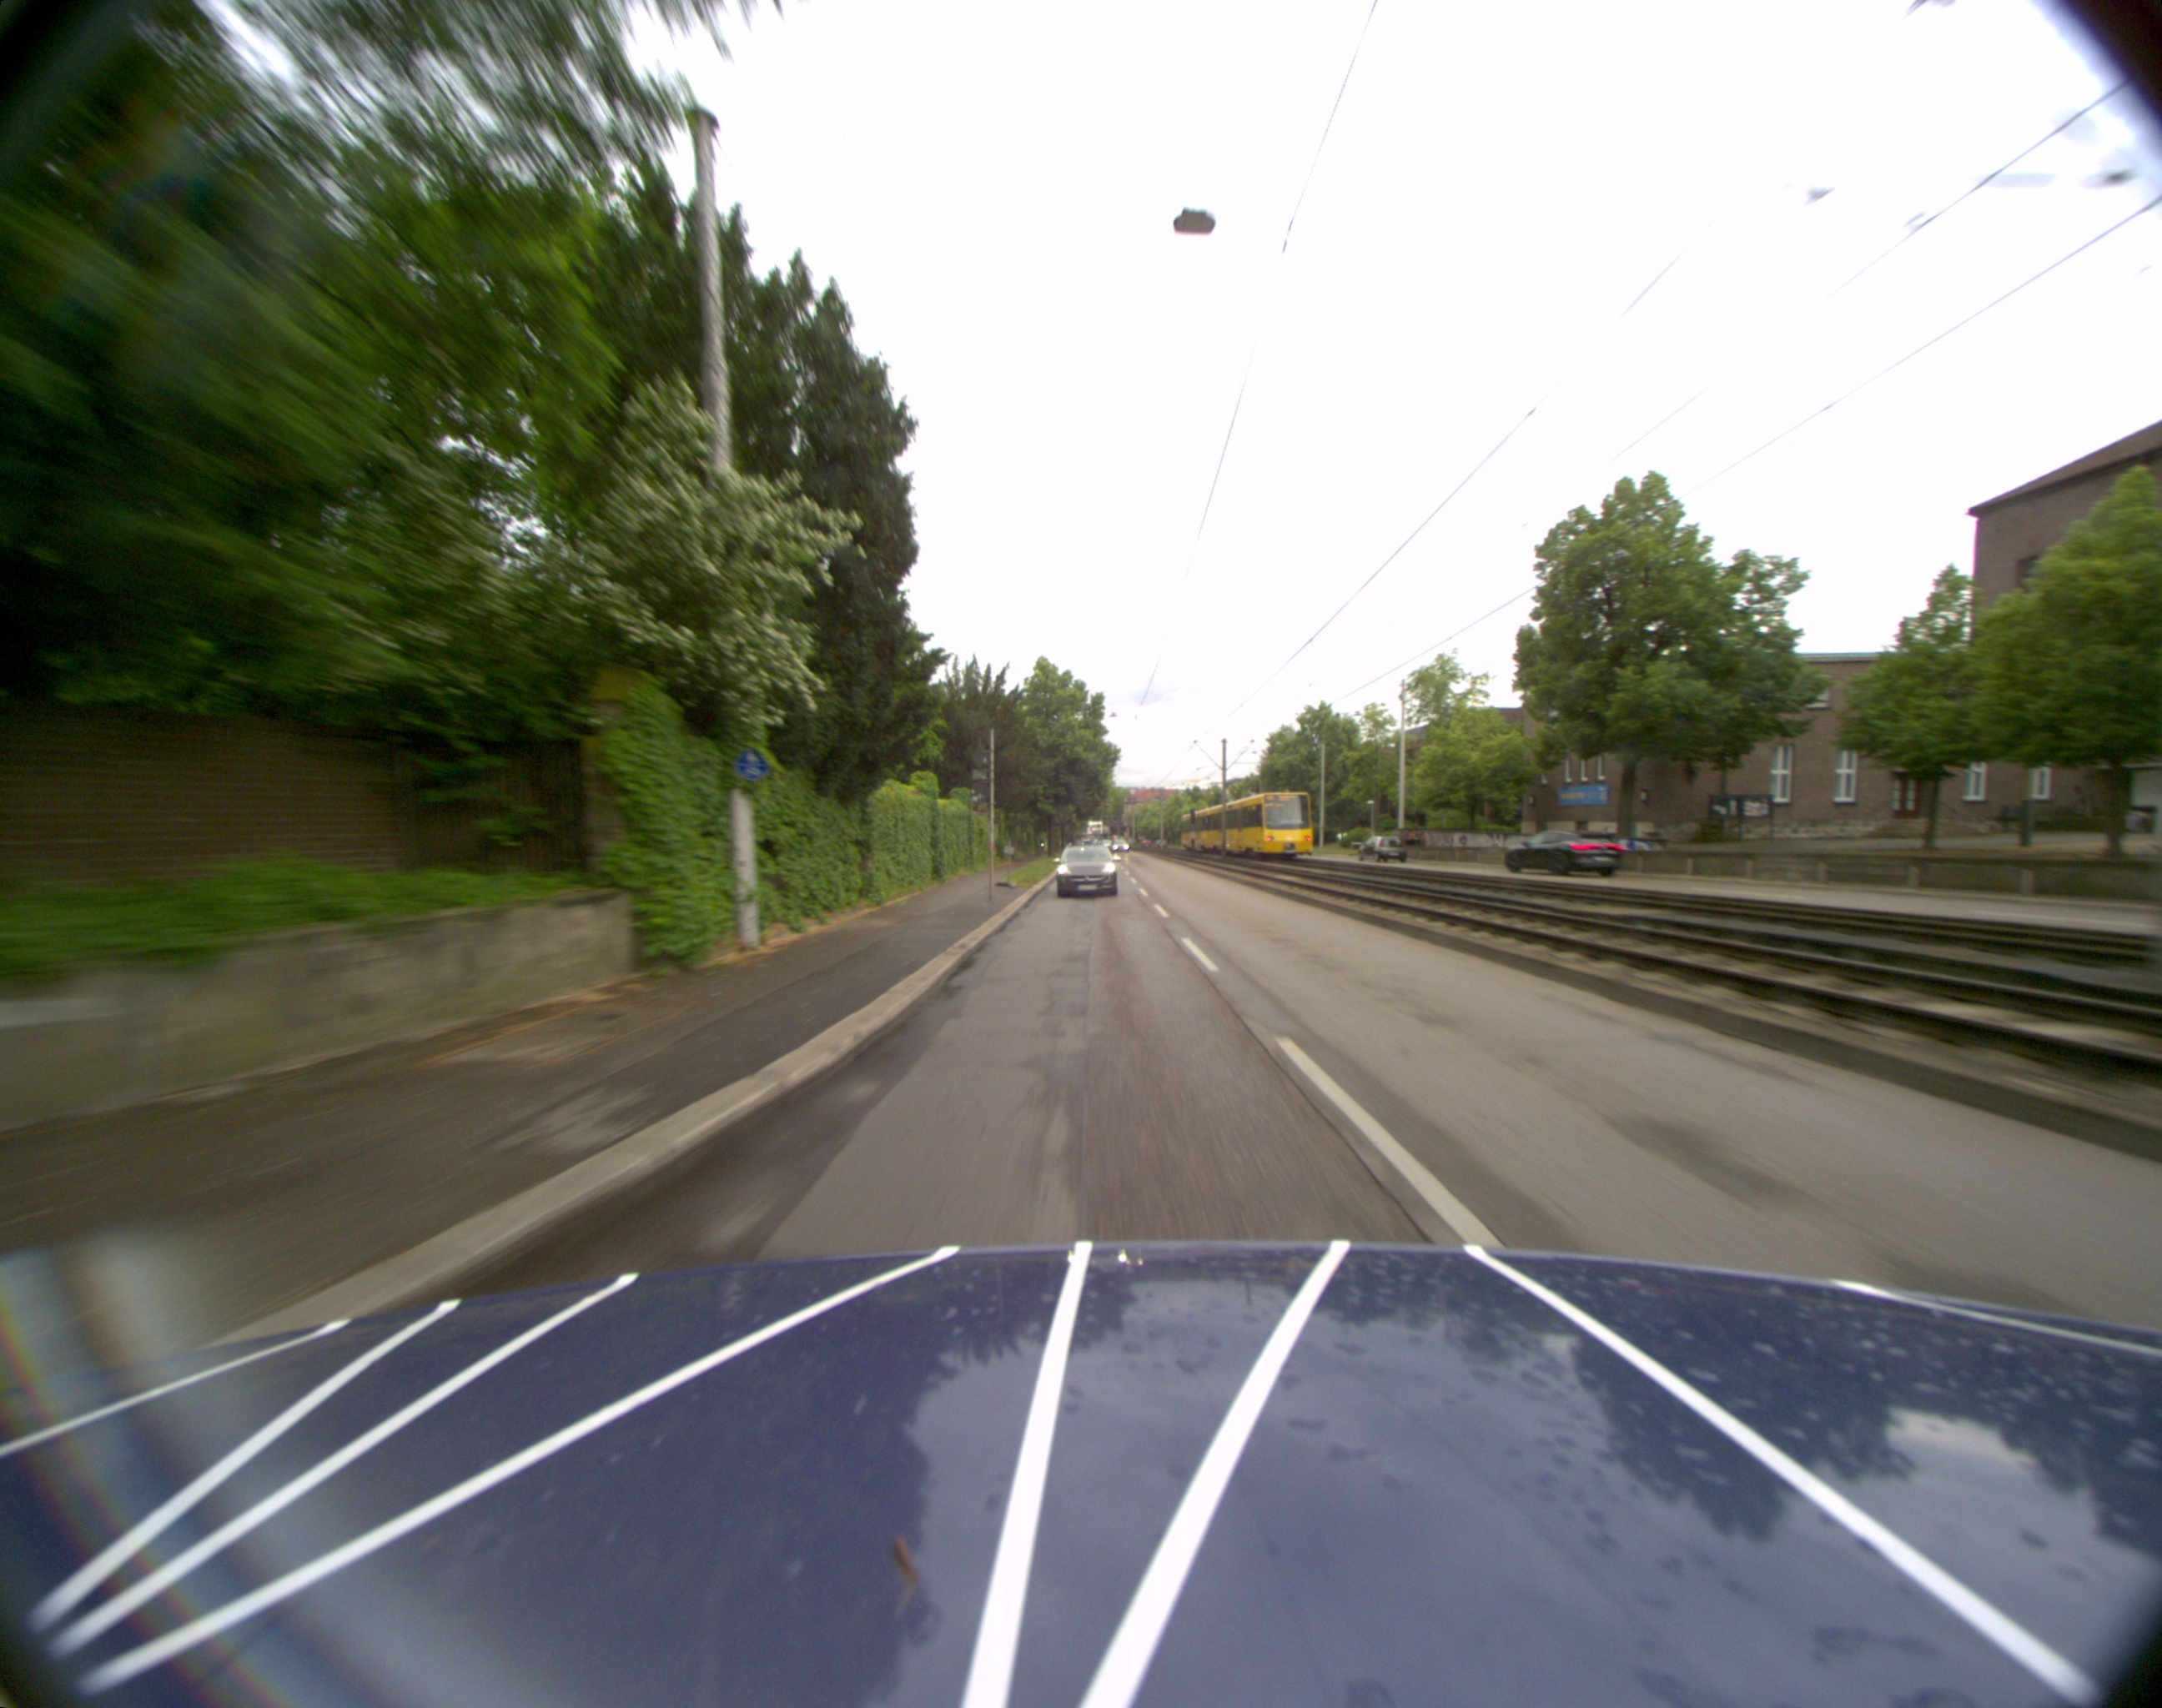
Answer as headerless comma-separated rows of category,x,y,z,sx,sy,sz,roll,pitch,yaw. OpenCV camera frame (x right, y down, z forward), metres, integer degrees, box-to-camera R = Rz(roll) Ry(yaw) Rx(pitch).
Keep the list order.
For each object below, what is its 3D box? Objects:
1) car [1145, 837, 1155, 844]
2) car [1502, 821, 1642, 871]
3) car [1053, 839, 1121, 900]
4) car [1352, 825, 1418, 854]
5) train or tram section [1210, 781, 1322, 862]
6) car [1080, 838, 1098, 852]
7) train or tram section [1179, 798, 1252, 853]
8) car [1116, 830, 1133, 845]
car,14.912,-2.927,163.792,1.691,1.386,4.339,-1,2,0
car,17.280,-0.331,27.061,1.999,1.635,4.523,0,2,-1
car,0.239,0.373,22.635,1.746,1.544,4.493,-3,2,2
car,17.533,-0.861,44.031,1.999,1.635,4.410,0,2,-1
train or tram section,10.724,-1.847,46.761,2.835,3.954,17.872,-1,2,1
car,0.876,-1.017,85.574,1.769,1.503,4.338,-1,2,-3
train or tram section,10.983,-2.303,64.722,2.835,3.954,20.022,-1,2,1
car,4.722,-1.755,81.765,1.768,1.503,4.341,-1,2,4
